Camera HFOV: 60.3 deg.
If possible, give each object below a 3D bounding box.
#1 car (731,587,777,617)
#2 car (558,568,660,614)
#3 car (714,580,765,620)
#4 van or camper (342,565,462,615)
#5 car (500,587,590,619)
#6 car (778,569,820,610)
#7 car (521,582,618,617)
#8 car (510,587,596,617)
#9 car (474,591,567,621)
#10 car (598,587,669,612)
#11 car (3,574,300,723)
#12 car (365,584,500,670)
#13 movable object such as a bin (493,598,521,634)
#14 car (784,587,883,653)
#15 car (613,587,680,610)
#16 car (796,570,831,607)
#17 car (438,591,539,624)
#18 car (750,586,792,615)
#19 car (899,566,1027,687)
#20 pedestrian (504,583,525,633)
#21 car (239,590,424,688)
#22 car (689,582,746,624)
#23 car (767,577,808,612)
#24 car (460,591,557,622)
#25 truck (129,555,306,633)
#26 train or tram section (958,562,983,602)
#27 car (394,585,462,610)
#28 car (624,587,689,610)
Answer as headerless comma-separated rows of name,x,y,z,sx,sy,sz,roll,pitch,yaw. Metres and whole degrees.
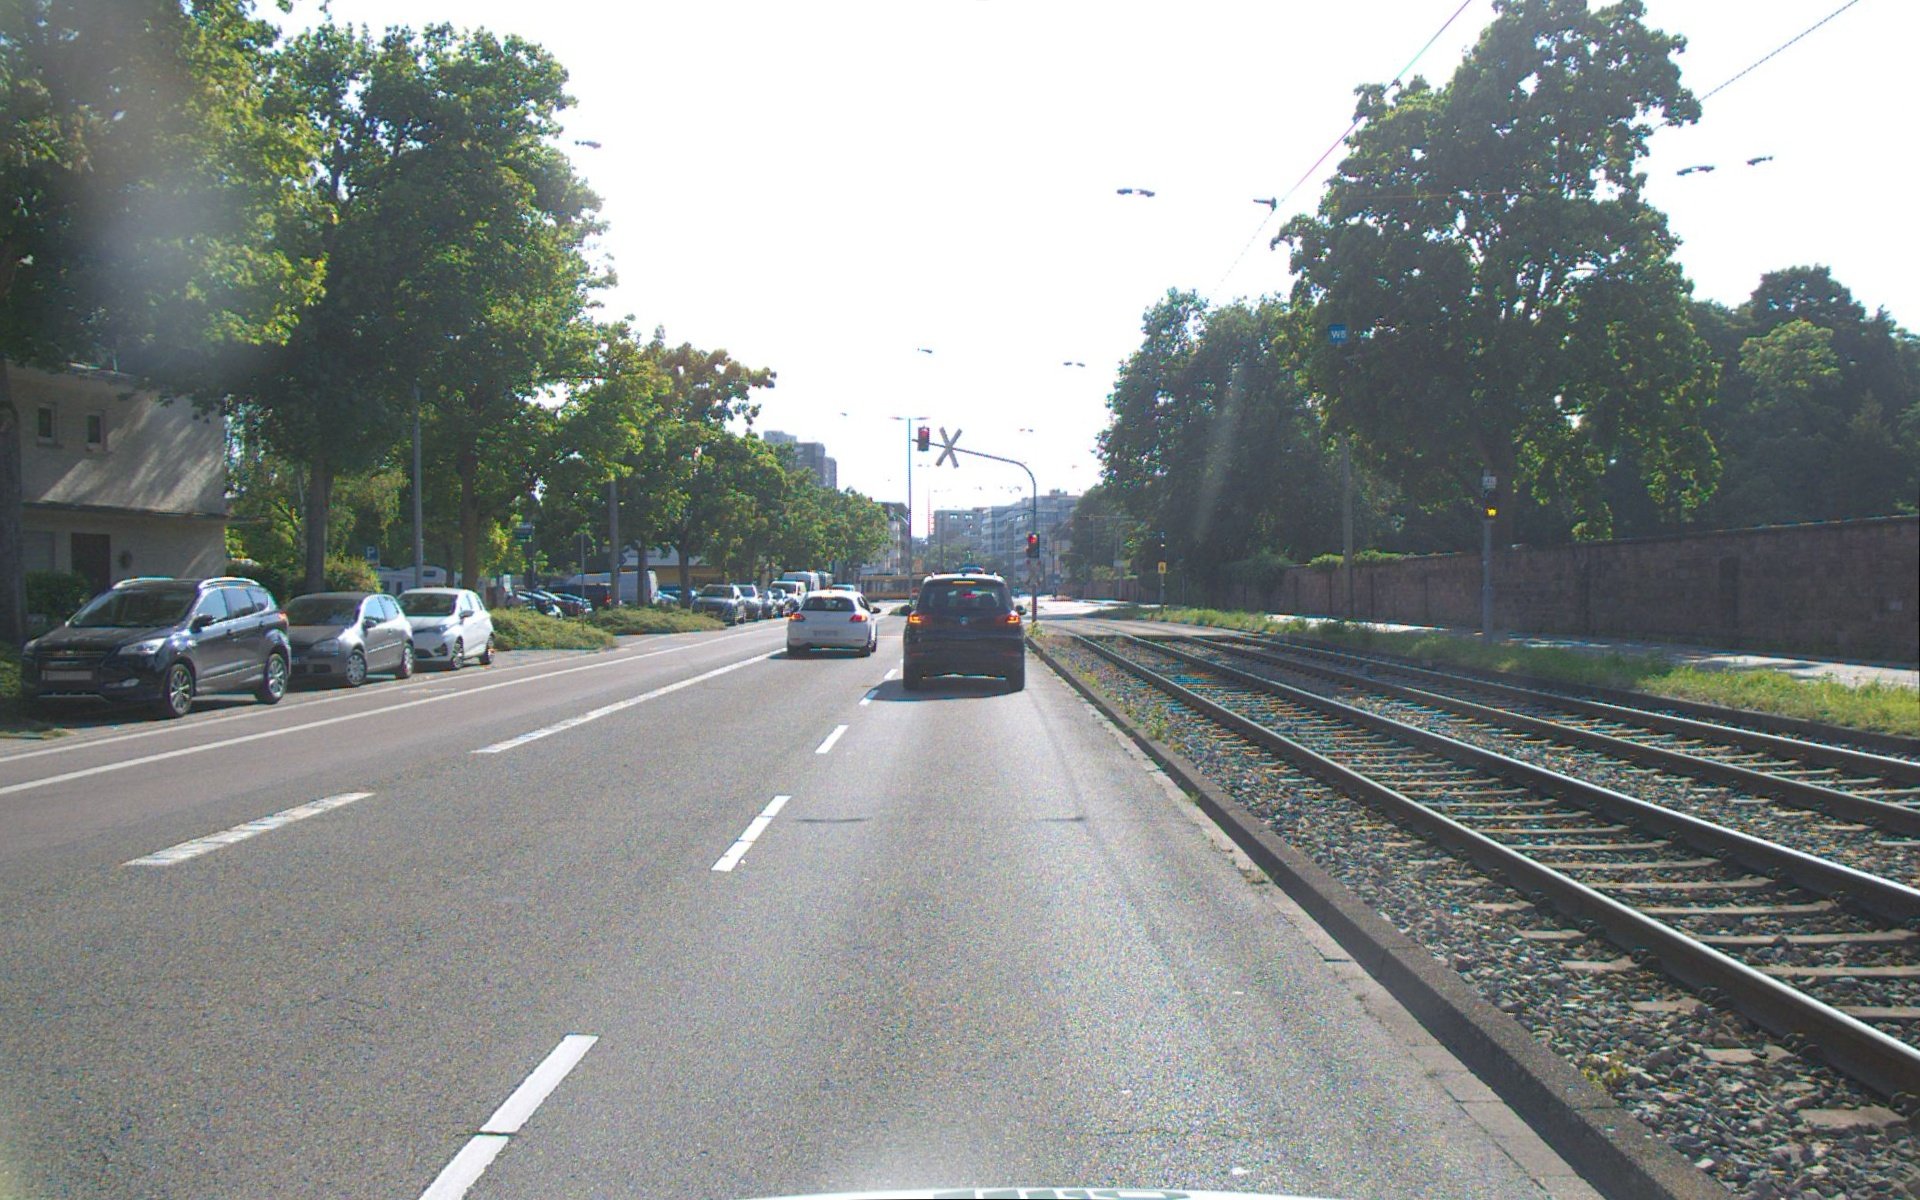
car,-10.230,0.073,82.415,1.696,1.413,3.736,-1,1,2
car,-19.789,-0.500,93.517,5.265,2.466,2.088,-1,0,0
car,-10.115,-0.010,76.100,1.696,1.724,4.001,-1,1,2
van or camper,-33.131,-0.607,98.297,6.330,2.918,2.308,0,0,1
car,-20.091,0.137,80.148,3.907,1.422,1.737,-1,0,-3
car,-9.721,-0.673,100.287,1.825,2.388,4.986,-1,1,2
car,-20.142,-0.039,85.499,4.524,1.680,2.049,-1,0,-2
car,-20.443,0.111,83.113,3.907,1.422,1.737,-1,0,-3
car,-20.677,0.254,77.932,3.907,1.330,1.737,-1,1,-3
car,-19.525,-0.045,98.948,3.907,1.422,1.737,-1,0,-3
car,-10.347,0.543,21.573,1.639,1.723,4.423,0,1,1
car,-10.451,0.484,33.016,1.569,1.577,3.892,1,1,-3
movable object such as a bin,-15.020,0.521,54.847,0.531,1.166,1.261,-1,0,1
car,-2.729,0.395,36.450,1.826,1.371,4.000,0,1,1
car,-19.795,-0.096,104.422,3.907,1.422,1.737,-1,0,-3
car,-9.454,-0.781,107.115,1.696,2.308,4.646,-1,1,2
car,-20.501,0.308,72.048,3.907,1.330,1.737,-1,1,-3
car,-10.071,-0.005,88.297,1.696,1.475,3.736,-1,1,2
car,0.067,0.359,25.125,1.774,1.673,4.000,0,0,1
pedestrian,-15.007,0.258,55.779,0.513,1.656,0.610,-1,0,0
car,-10.361,0.589,27.550,1.643,1.494,3.967,0,1,-2
car,-10.296,0.096,70.472,1.696,1.686,4.001,-1,1,2
car,-9.712,-0.334,93.529,1.696,1.892,4.490,-1,1,2
car,-20.349,0.283,74.644,3.907,1.330,1.737,-1,1,-3
truck,-32.788,-0.263,73.177,6.821,3.298,1.987,-1,0,-2
train or tram section,1.019,-1.688,155.123,2.279,3.632,8.901,-1,1,1
car,-32.629,-0.164,101.464,3.589,1.422,1.737,-1,0,-3
car,-19.560,-0.115,106.651,3.907,1.422,1.737,-1,0,-3
